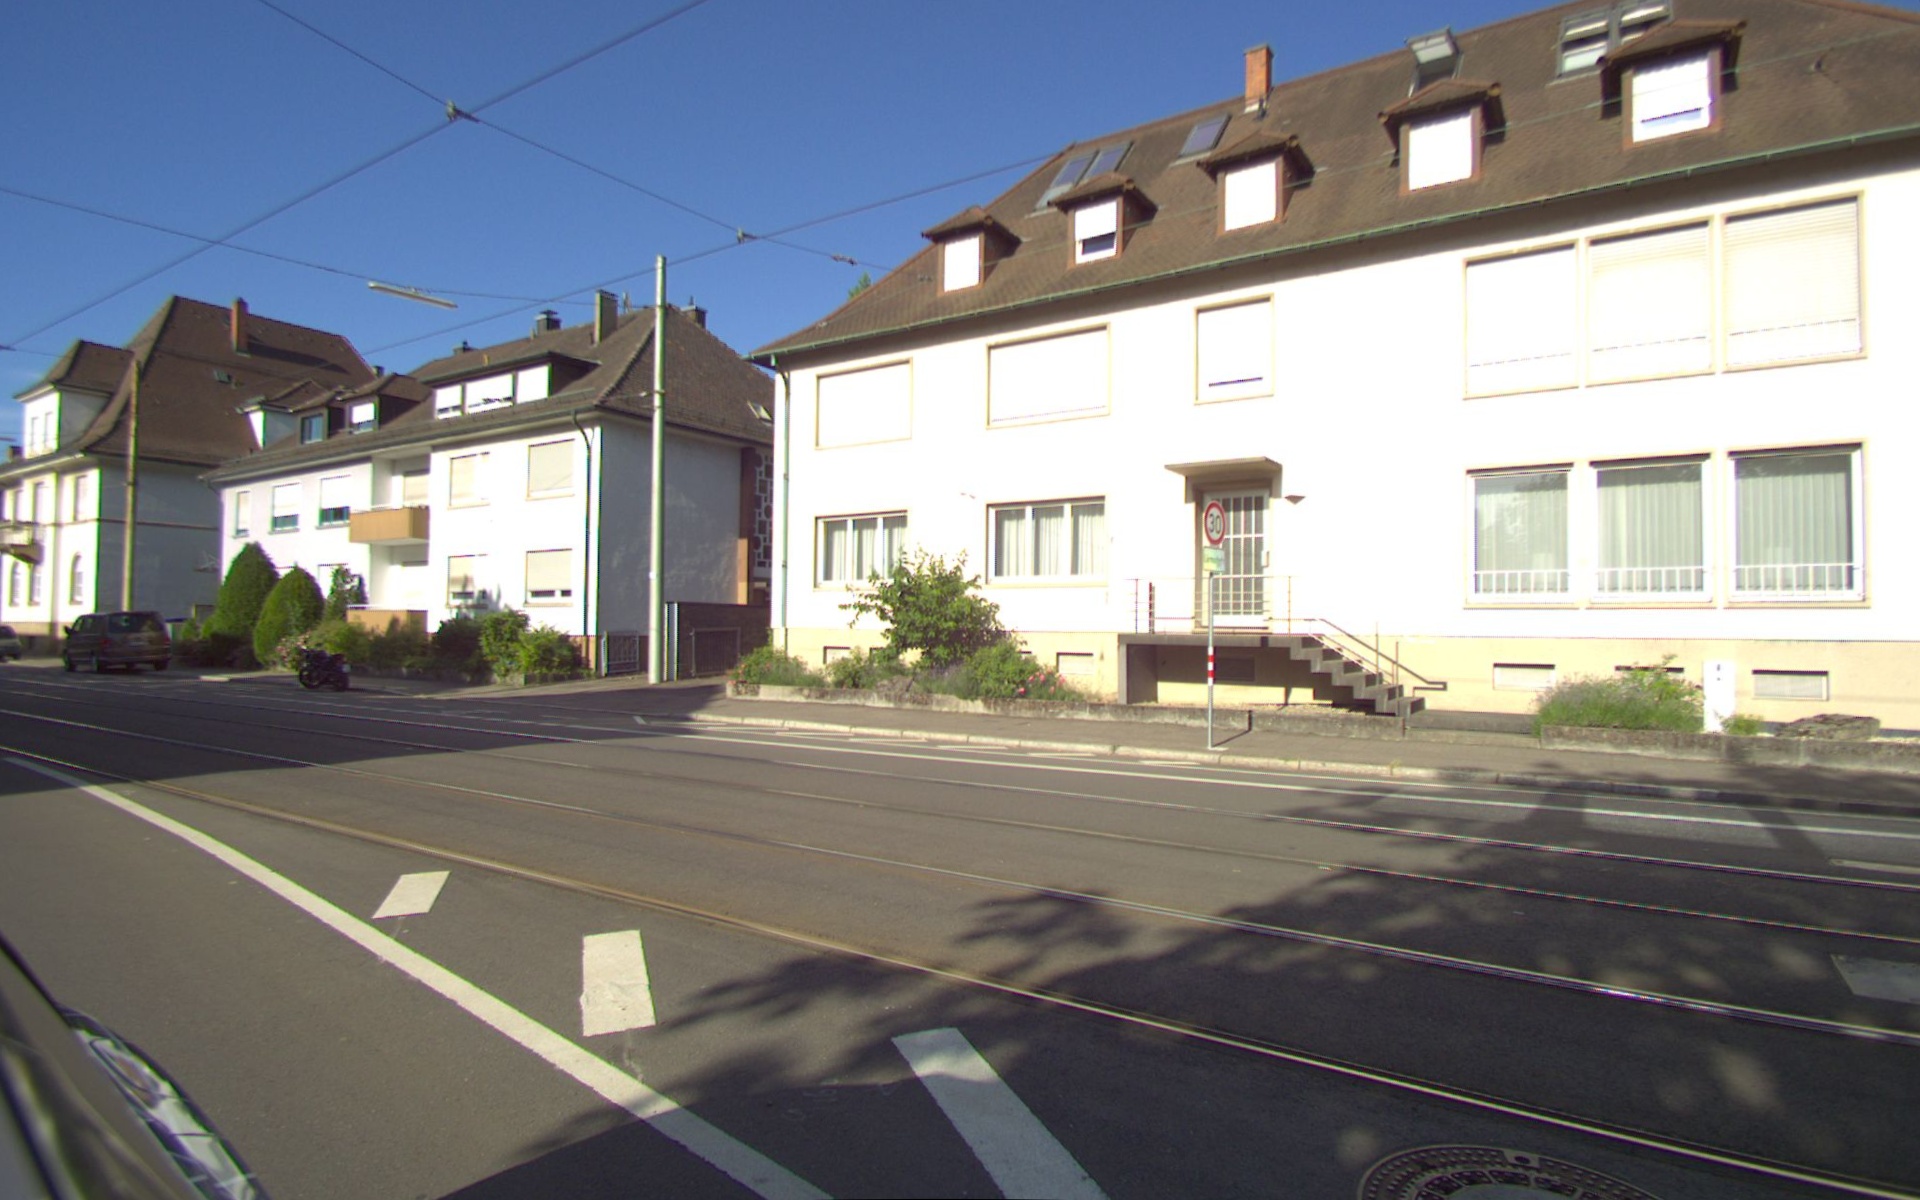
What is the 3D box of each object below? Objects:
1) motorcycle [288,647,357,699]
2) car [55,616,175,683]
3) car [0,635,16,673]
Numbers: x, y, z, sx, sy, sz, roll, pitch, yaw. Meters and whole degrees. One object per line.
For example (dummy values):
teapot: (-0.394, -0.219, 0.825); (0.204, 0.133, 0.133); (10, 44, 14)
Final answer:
motorcycle: (-15.327, 1.737, 24.316); (2.166, 1.171, 0.532); (-1, -4, 34)
car: (-27.810, 1.576, 33.257); (4.939, 2.029, 1.889); (-1, -1, 36)
car: (-39.946, 2.177, 41.002); (3.825, 1.488, 1.663); (-1, -1, 34)
